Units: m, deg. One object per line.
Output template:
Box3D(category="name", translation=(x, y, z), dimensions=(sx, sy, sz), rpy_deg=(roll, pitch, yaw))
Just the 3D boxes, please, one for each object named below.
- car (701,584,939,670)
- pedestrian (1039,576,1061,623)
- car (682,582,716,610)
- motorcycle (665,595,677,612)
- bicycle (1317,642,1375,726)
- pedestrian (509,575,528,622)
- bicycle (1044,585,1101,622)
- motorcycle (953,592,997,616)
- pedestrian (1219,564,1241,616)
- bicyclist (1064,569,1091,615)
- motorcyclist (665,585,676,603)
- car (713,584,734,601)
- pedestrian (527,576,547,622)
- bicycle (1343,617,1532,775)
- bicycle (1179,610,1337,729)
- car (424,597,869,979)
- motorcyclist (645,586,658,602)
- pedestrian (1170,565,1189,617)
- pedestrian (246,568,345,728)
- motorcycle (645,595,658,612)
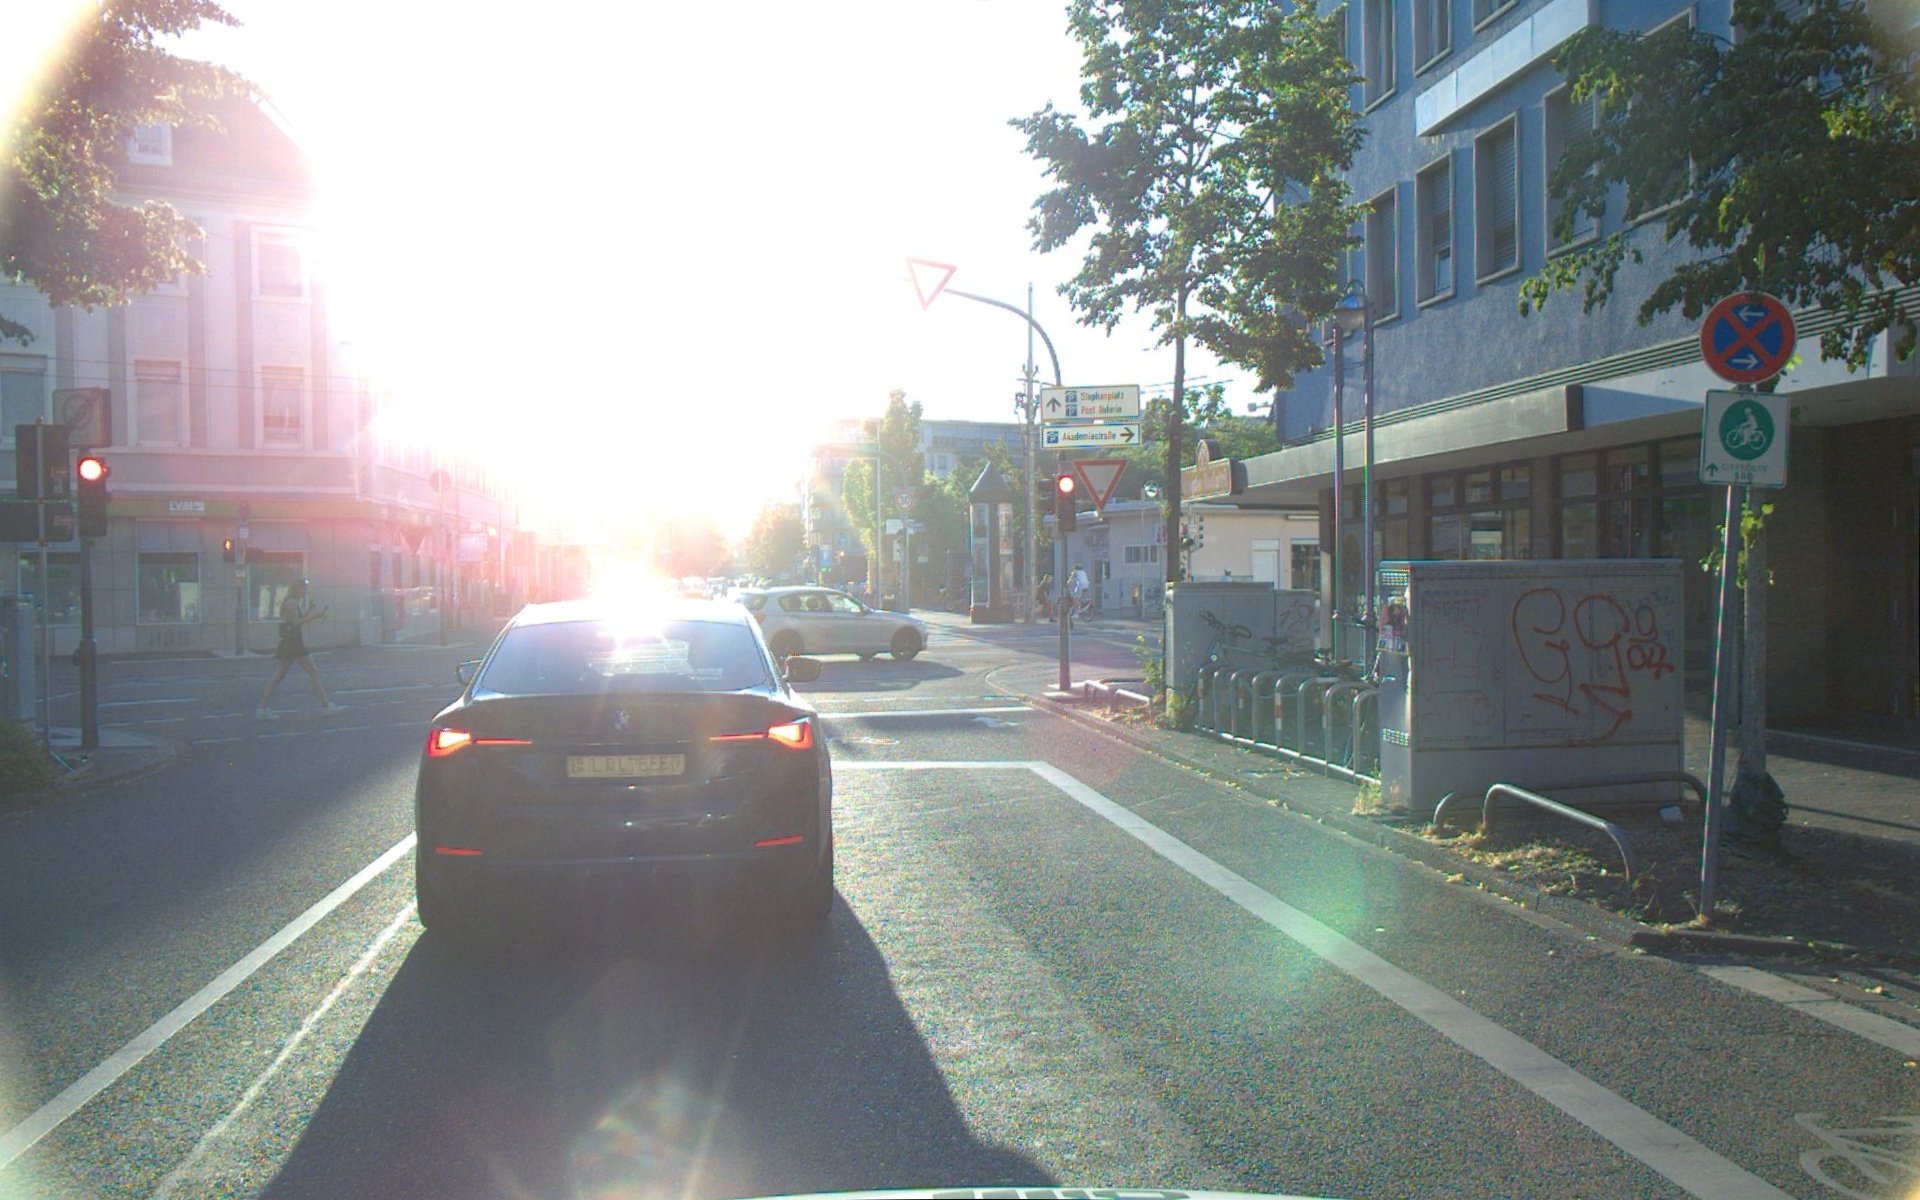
Box3D(category="car", translation=(-2.725, 0.486, 32.495), dimensions=(4.267, 1.524, 1.977), rpy_deg=(-1, 1, -33))
Box3D(category="pedestrian", translation=(3.014, -0.022, 55.467), dimensions=(0.717, 1.555, 0.472), rpy_deg=(1, 0, 0))
Box3D(category="car", translation=(-15.235, -0.244, 96.795), dimensions=(1.783, 1.545, 3.994), rpy_deg=(-1, 1, -7))
Box3D(category="motorcycle", translation=(-16.810, 0.209, 96.125), dimensions=(0.564, 0.931, 2.197), rpy_deg=(1, 0, -7))
Box3D(category="bicycle", translation=(4.041, 0.870, 17.364), dimensions=(0.244, 0.810, 1.114), rpy_deg=(1, 0, -5))
Box3D(category="pedestrian", translation=(-18.157, -0.053, 68.025), dimensions=(0.631, 1.909, 0.631), rpy_deg=(1, 0, -8))
Box3D(category="bicycle", translation=(3.665, 0.114, 54.100), dimensions=(0.546, 1.179, 2.114), rpy_deg=(1, 0, -39))
Box3D(category="motorcycle", translation=(0.629, 0.159, 69.846), dimensions=(1.643, 0.955, 0.852), rpy_deg=(-1, 1, -18))
Box3D(category="pedestrian", translation=(9.103, -0.338, 55.778), dimensions=(0.474, 1.765, 0.526), rpy_deg=(1, 0, -32))
Box3D(category="bicyclist", translation=(3.826, -0.261, 53.894), dimensions=(0.546, 1.507, 0.712), rpy_deg=(1, -1, -39))
Box3D(category="motorcyclist", translation=(-16.813, -0.332, 96.011), dimensions=(0.564, 1.013, 0.701), rpy_deg=(1, 0, -7))
Box3D(category="car", translation=(-21.271, -0.682, 148.715), dimensions=(1.783, 1.545, 3.994), rpy_deg=(-1, 1, -7))
Box3D(category="pedestrian", translation=(-17.435, -0.042, 68.185), dimensions=(0.663, 1.909, 0.617), rpy_deg=(1, 0, -8))
Box3D(category="bicycle", translation=(3.843, 0.769, 13.335), dimensions=(1.413, 1.241, 0.383), rpy_deg=(1, 0, -6))
Box3D(category="bicycle", translation=(3.090, 0.715, 17.195), dimensions=(1.581, 1.191, 0.318), rpy_deg=(-1, 1, -6))
Box3D(category="car", translation=(-1.502, 0.718, 8.549), dimensions=(1.704, 1.453, 4.216), rpy_deg=(0, 0, -8))
Box3D(category="motorcyclist", translation=(-17.961, -0.353, 96.404), dimensions=(0.564, 0.931, 2.197), rpy_deg=(1, 0, -7))
Box3D(category="pedestrian", translation=(7.448, -0.314, 56.072), dimensions=(0.438, 1.765, 0.429), rpy_deg=(1, 0, -32))
Box3D(category="pedestrian", translation=(-8.329, 0.579, 20.721), dimensions=(0.990, 1.892, 0.634), rpy_deg=(-4, 2, -28))
Box3D(category="motorcycle", translation=(-17.982, 0.187, 96.466), dimensions=(0.564, 0.931, 2.197), rpy_deg=(1, 0, -7))
